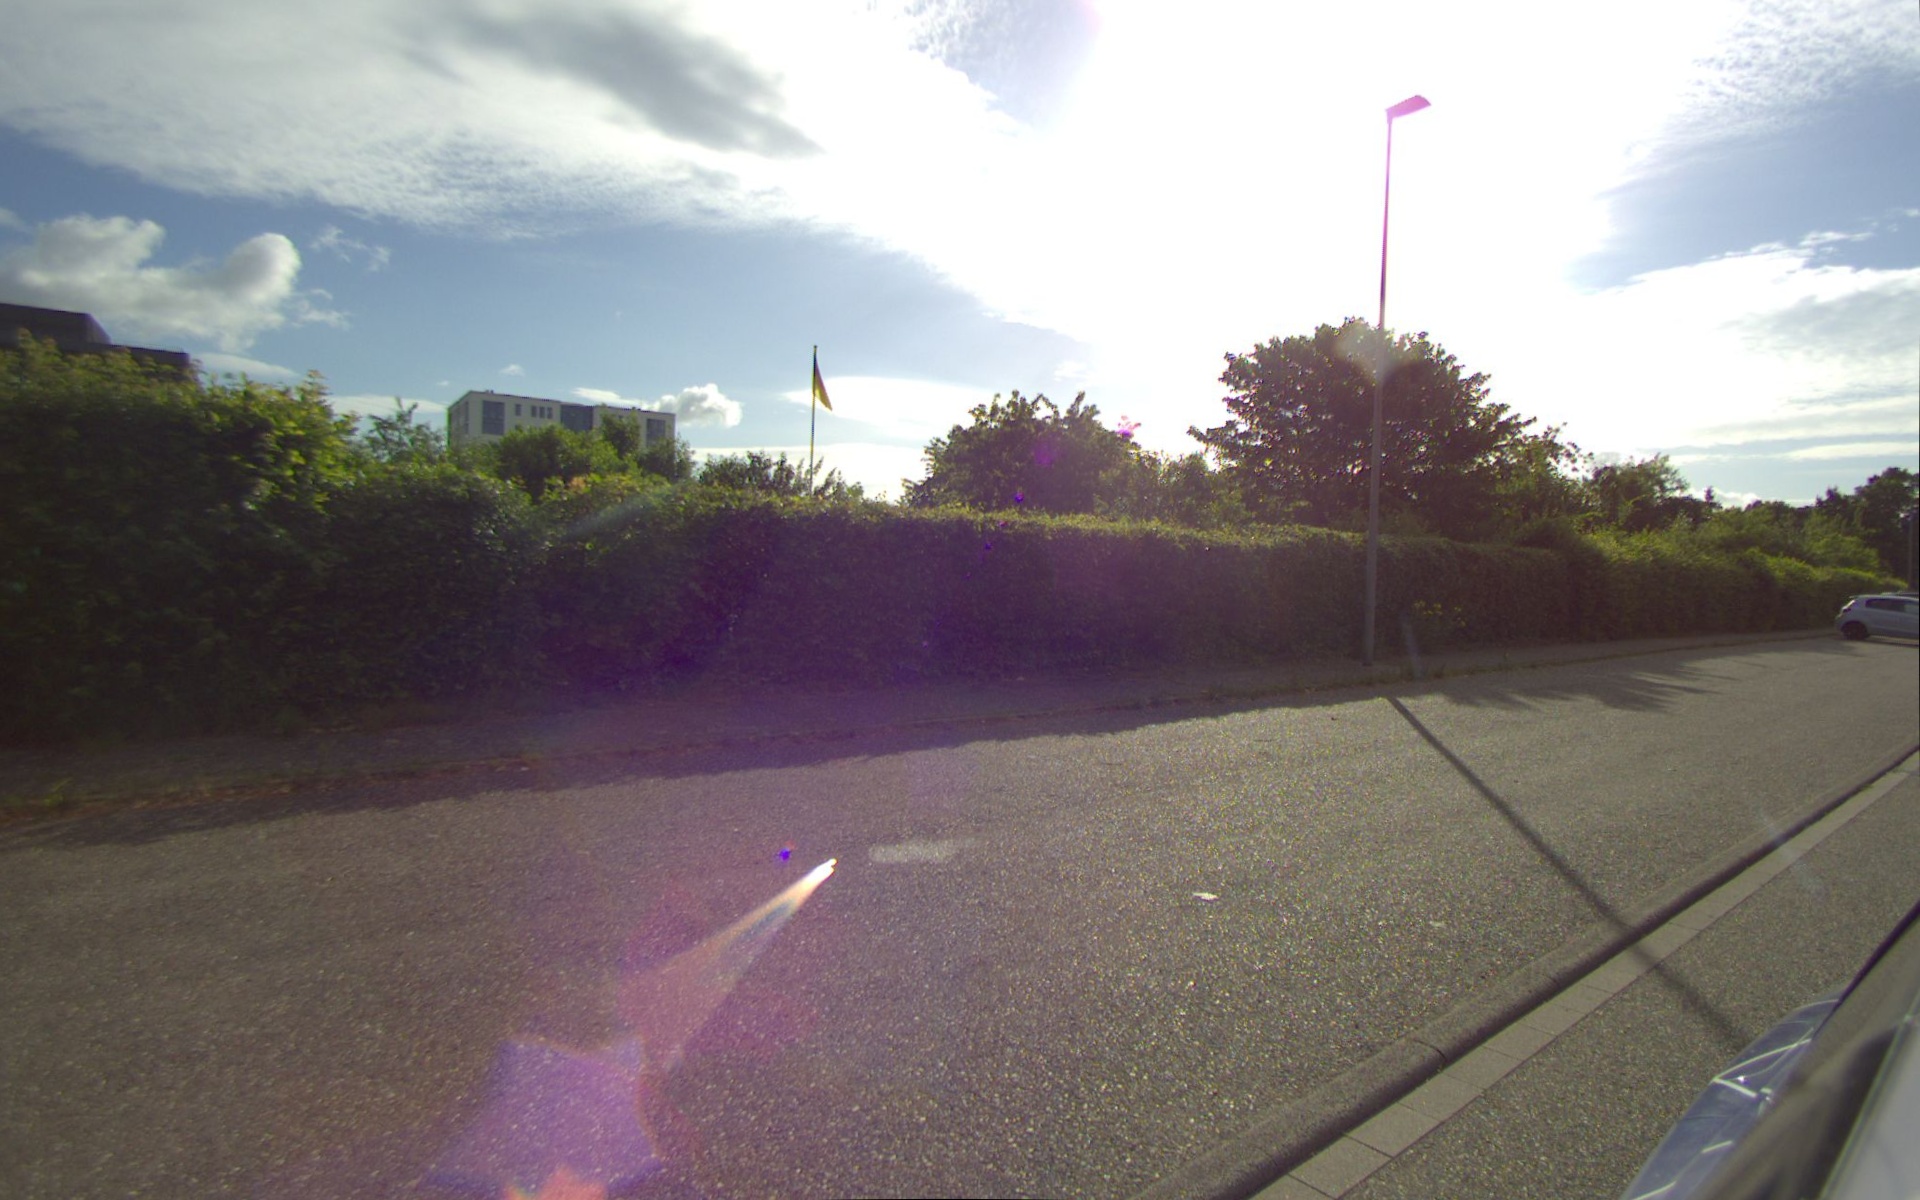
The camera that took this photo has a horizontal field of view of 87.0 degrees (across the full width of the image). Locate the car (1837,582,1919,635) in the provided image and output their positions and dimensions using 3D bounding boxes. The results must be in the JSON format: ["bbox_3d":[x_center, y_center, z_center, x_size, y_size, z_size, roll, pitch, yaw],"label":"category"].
[{"bbox_3d":[30.648,0.360,32.194,1.662,1.508,3.867,2,4,-41],"label":"car"}]

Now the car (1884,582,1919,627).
[{"bbox_3d":[38.813,0.271,38.893,1.732,1.720,4.600,0,3,-39],"label":"car"}]
